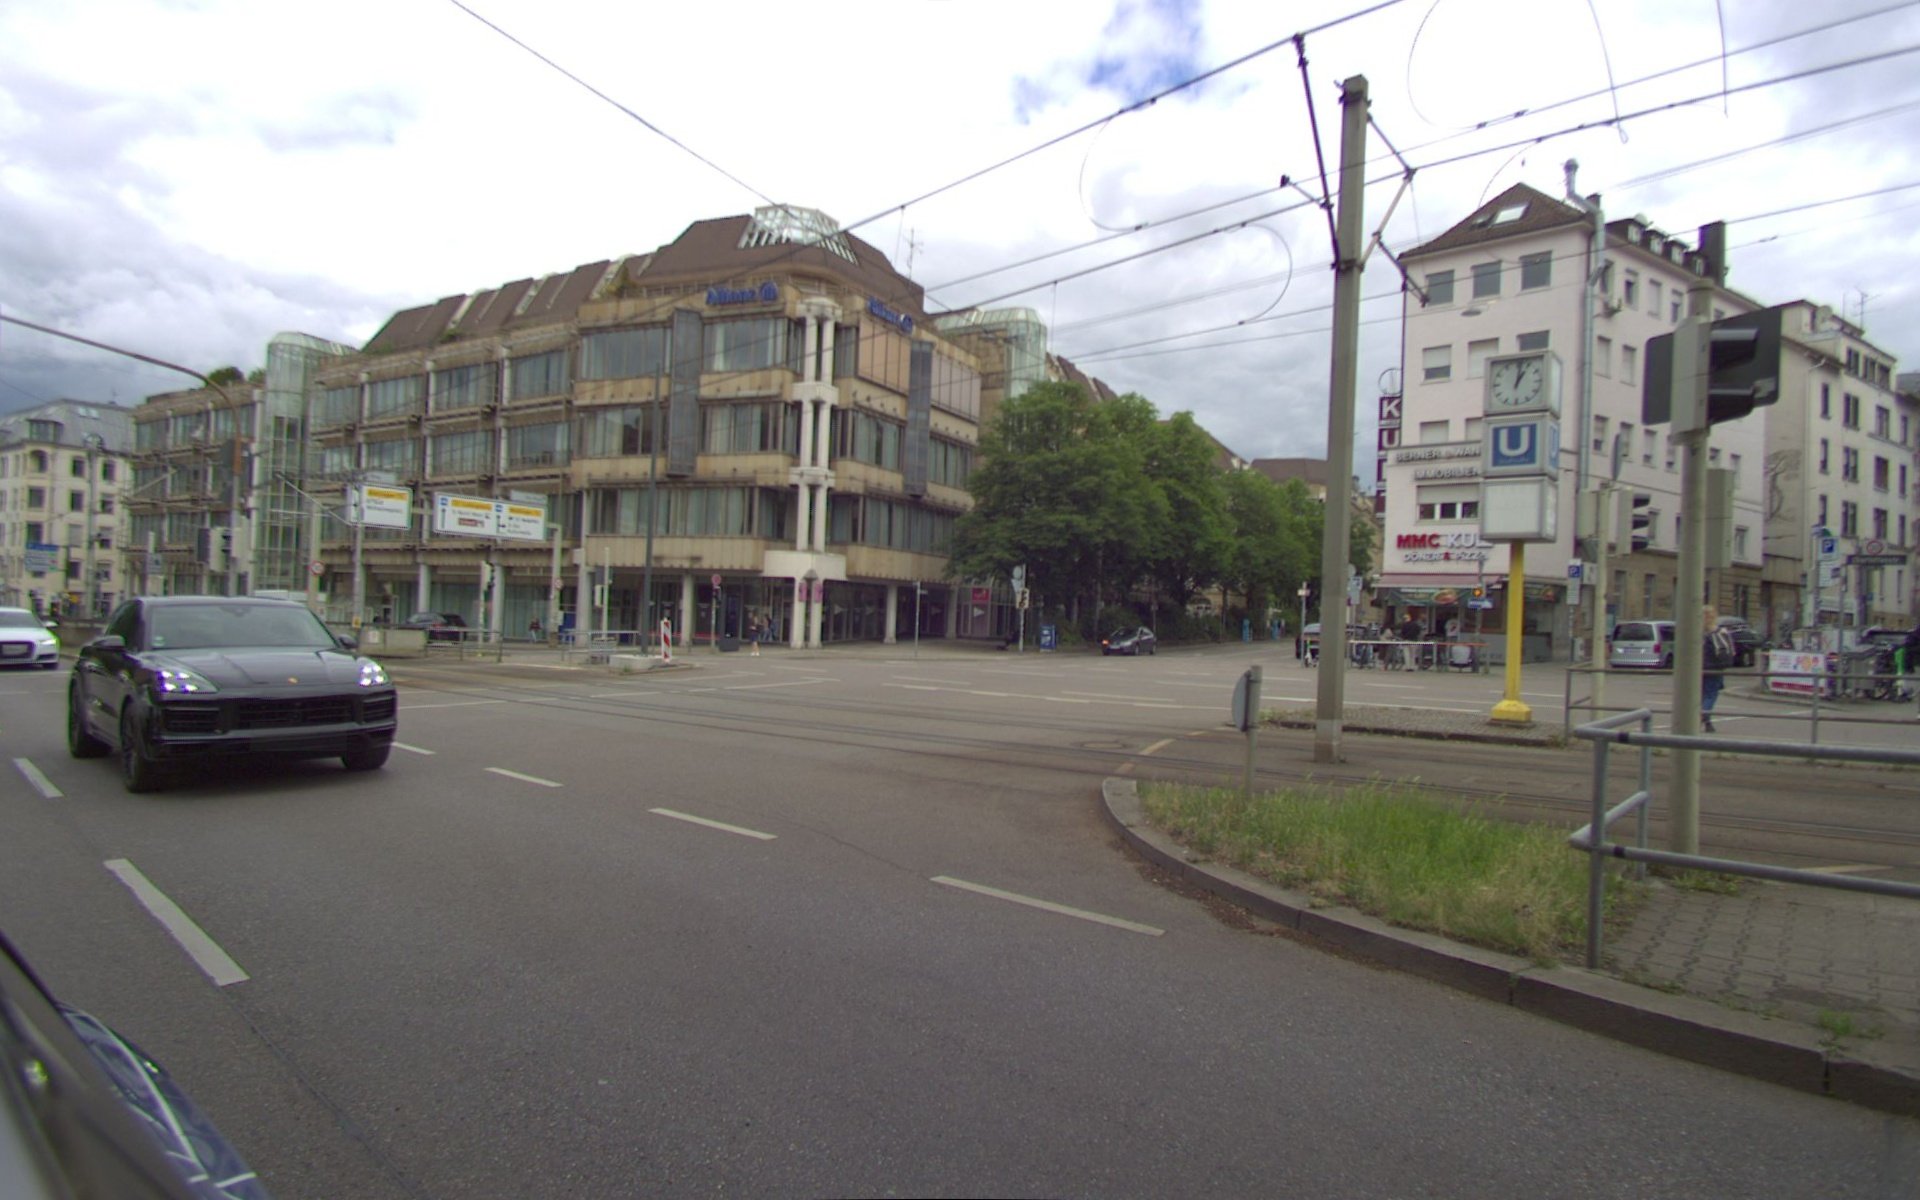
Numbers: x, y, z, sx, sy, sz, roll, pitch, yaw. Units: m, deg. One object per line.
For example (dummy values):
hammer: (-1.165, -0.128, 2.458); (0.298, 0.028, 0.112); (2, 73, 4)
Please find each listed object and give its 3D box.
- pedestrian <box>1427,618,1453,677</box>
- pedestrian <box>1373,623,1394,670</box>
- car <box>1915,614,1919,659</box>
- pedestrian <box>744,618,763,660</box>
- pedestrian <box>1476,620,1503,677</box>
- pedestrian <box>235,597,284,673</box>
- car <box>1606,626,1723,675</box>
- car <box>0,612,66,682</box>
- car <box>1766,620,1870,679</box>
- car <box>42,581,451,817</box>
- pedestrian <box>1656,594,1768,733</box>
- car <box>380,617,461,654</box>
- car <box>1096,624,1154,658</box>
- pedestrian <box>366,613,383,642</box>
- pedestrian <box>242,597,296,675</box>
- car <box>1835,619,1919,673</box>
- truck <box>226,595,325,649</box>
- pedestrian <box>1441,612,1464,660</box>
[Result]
pedestrian: (15.030, 1.478, 31.697); (0.503, 1.793, 0.578); (2, -2, -38)
pedestrian: (16.189, 1.775, 38.726); (0.503, 1.793, 0.578); (2, -2, -38)
car: (40.407, 1.552, 40.613); (4.590, 1.759, 2.060); (4, -3, -34)
pedestrian: (-8.885, 1.679, 43.549); (0.577, 1.793, 0.504); (-1, -2, 42)
pedestrian: (16.964, 1.542, 32.415); (0.567, 1.793, 0.513); (1, -2, -24)
pedestrian: (-16.330, 0.803, 23.600); (0.637, 1.734, 0.757); (-1, -2, 39)
car: (24.725, 1.713, 35.485); (4.437, 1.572, 1.760); (1, -1, -32)
car: (-23.065, 1.063, 24.108); (3.994, 1.542, 1.926); (0, -1, 38)
car: (26.732, 1.567, 31.492); (3.721, 1.697, 1.641); (4, -4, -36)
car: (-7.117, 0.779, 9.812); (5.350, 1.688, 2.061); (-1, -2, 42)
pedestrian: (9.723, 0.801, 13.100); (0.862, 1.718, 0.815); (1, -2, -21)
car: (-28.174, 1.807, 52.783); (4.768, 1.772, 1.660); (0, -1, 33)
car: (8.342, 2.029, 50.831); (1.939, 1.542, 3.968); (0, 0, 24)
pedestrian: (-37.092, 1.721, 64.114); (0.738, 1.825, 0.724); (0, -1, 34)
pedestrian: (-15.755, 0.806, 23.075); (0.772, 1.734, 0.784); (-1, -2, 39)
car: (32.461, 1.635, 35.682); (3.721, 1.759, 1.641); (4, -4, -36)
truck: (-42.466, 1.331, 62.691); (7.352, 3.099, 2.248); (0, -3, 33)
pedestrian: (18.572, 1.342, 38.158); (0.503, 1.793, 0.599); (2, -2, -38)
